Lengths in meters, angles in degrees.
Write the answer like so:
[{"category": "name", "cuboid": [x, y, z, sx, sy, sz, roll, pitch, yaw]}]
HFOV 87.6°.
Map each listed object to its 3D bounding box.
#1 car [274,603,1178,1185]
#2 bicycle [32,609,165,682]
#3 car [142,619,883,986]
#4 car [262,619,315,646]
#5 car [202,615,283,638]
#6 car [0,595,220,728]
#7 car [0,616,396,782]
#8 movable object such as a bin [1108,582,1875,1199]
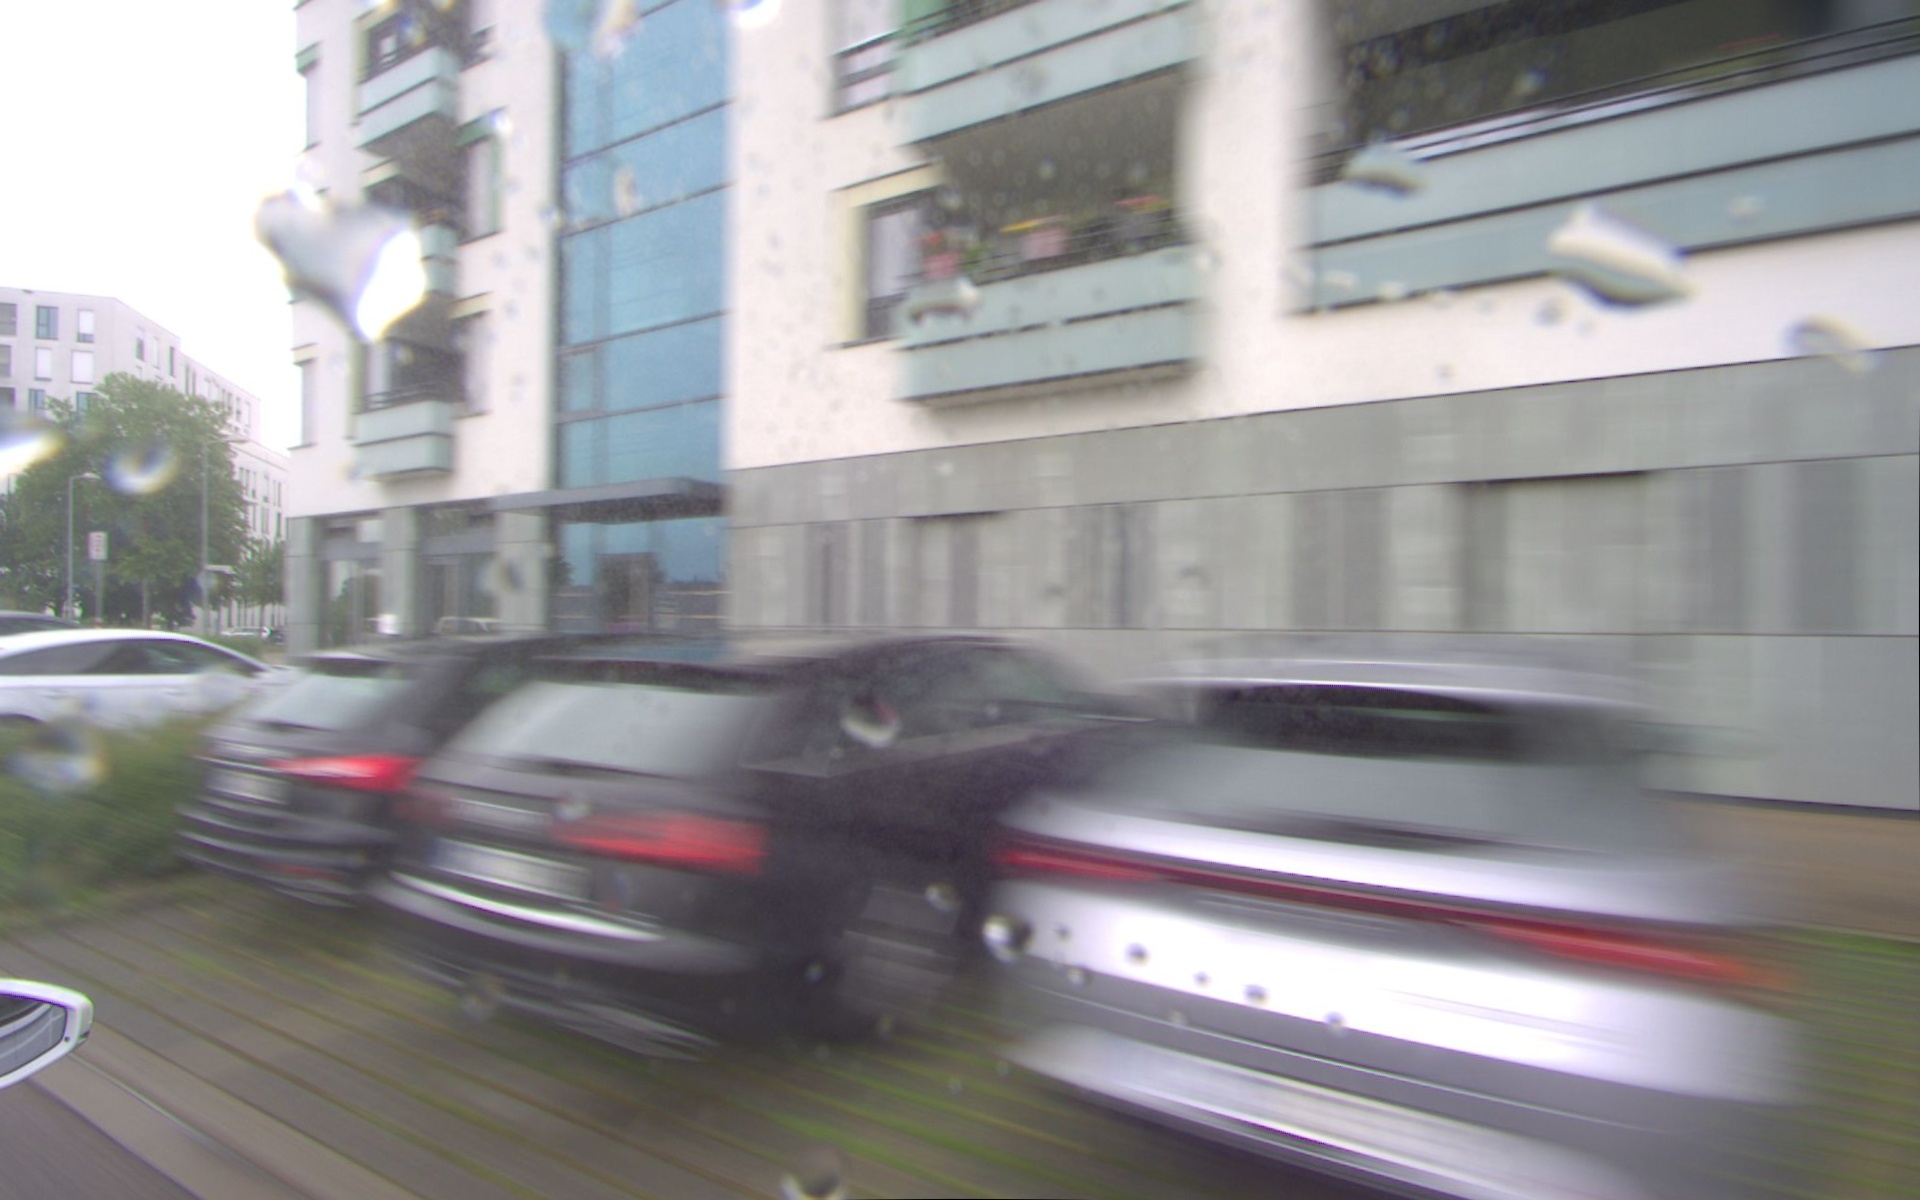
[{"category": "car", "cuboid": [-0.615, 0.791, 4.874, 2.028, 1.516, 4.052, 0, -1, 32]}, {"category": "bicycle", "cuboid": [-18.915, 0.980, 22.045, 2.169, 1.542, 0.626, 1, -1, -38]}, {"category": "car", "cuboid": [-2.386, 0.885, 6.355, 1.851, 1.498, 3.981, 0, -1, 31]}, {"category": "car", "cuboid": [-41.316, 1.987, 61.691, 1.705, 1.568, 4.113, 1, -2, -19]}, {"category": "car", "cuboid": [-55.611, 2.069, 77.684, 4.753, 1.526, 1.622, 3, -2, -17]}, {"category": "car", "cuboid": [-12.523, 0.764, 13.157, 1.937, 1.645, 4.082, 0, 0, 30]}, {"category": "car", "cuboid": [-8.568, 0.898, 10.377, 1.883, 1.423, 4.401, 0, 0, 31]}, {"category": "movable object such as a bin", "cuboid": [1.402, 0.748, 2.859, 1.559, 1.546, 1.298, 0, 0, 32]}]
